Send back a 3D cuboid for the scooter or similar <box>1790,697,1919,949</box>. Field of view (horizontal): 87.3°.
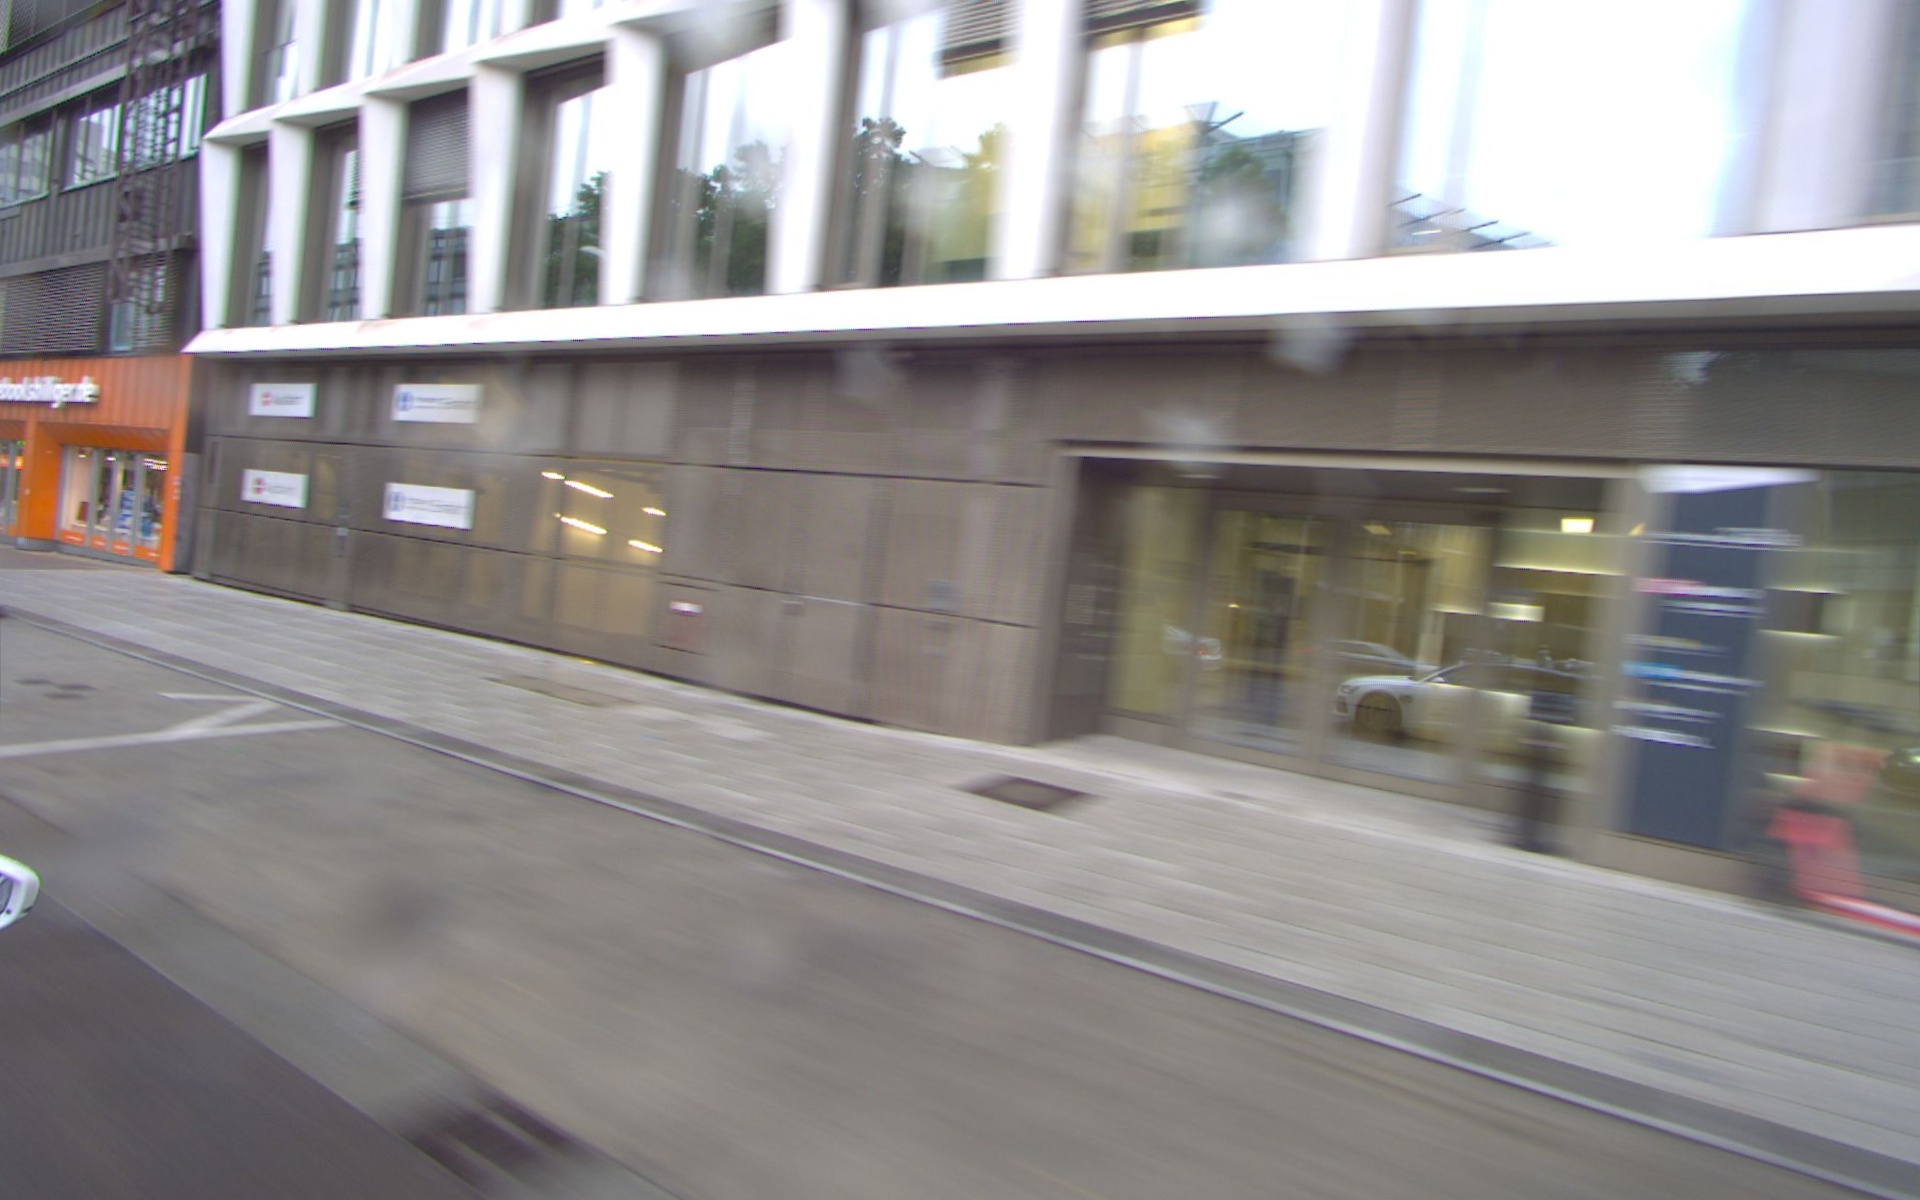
[{"bbox_3d":[5.278,1.229,5.384,1.172,1.251,0.411,7,1,40],"label":"scooter or similar"}]
